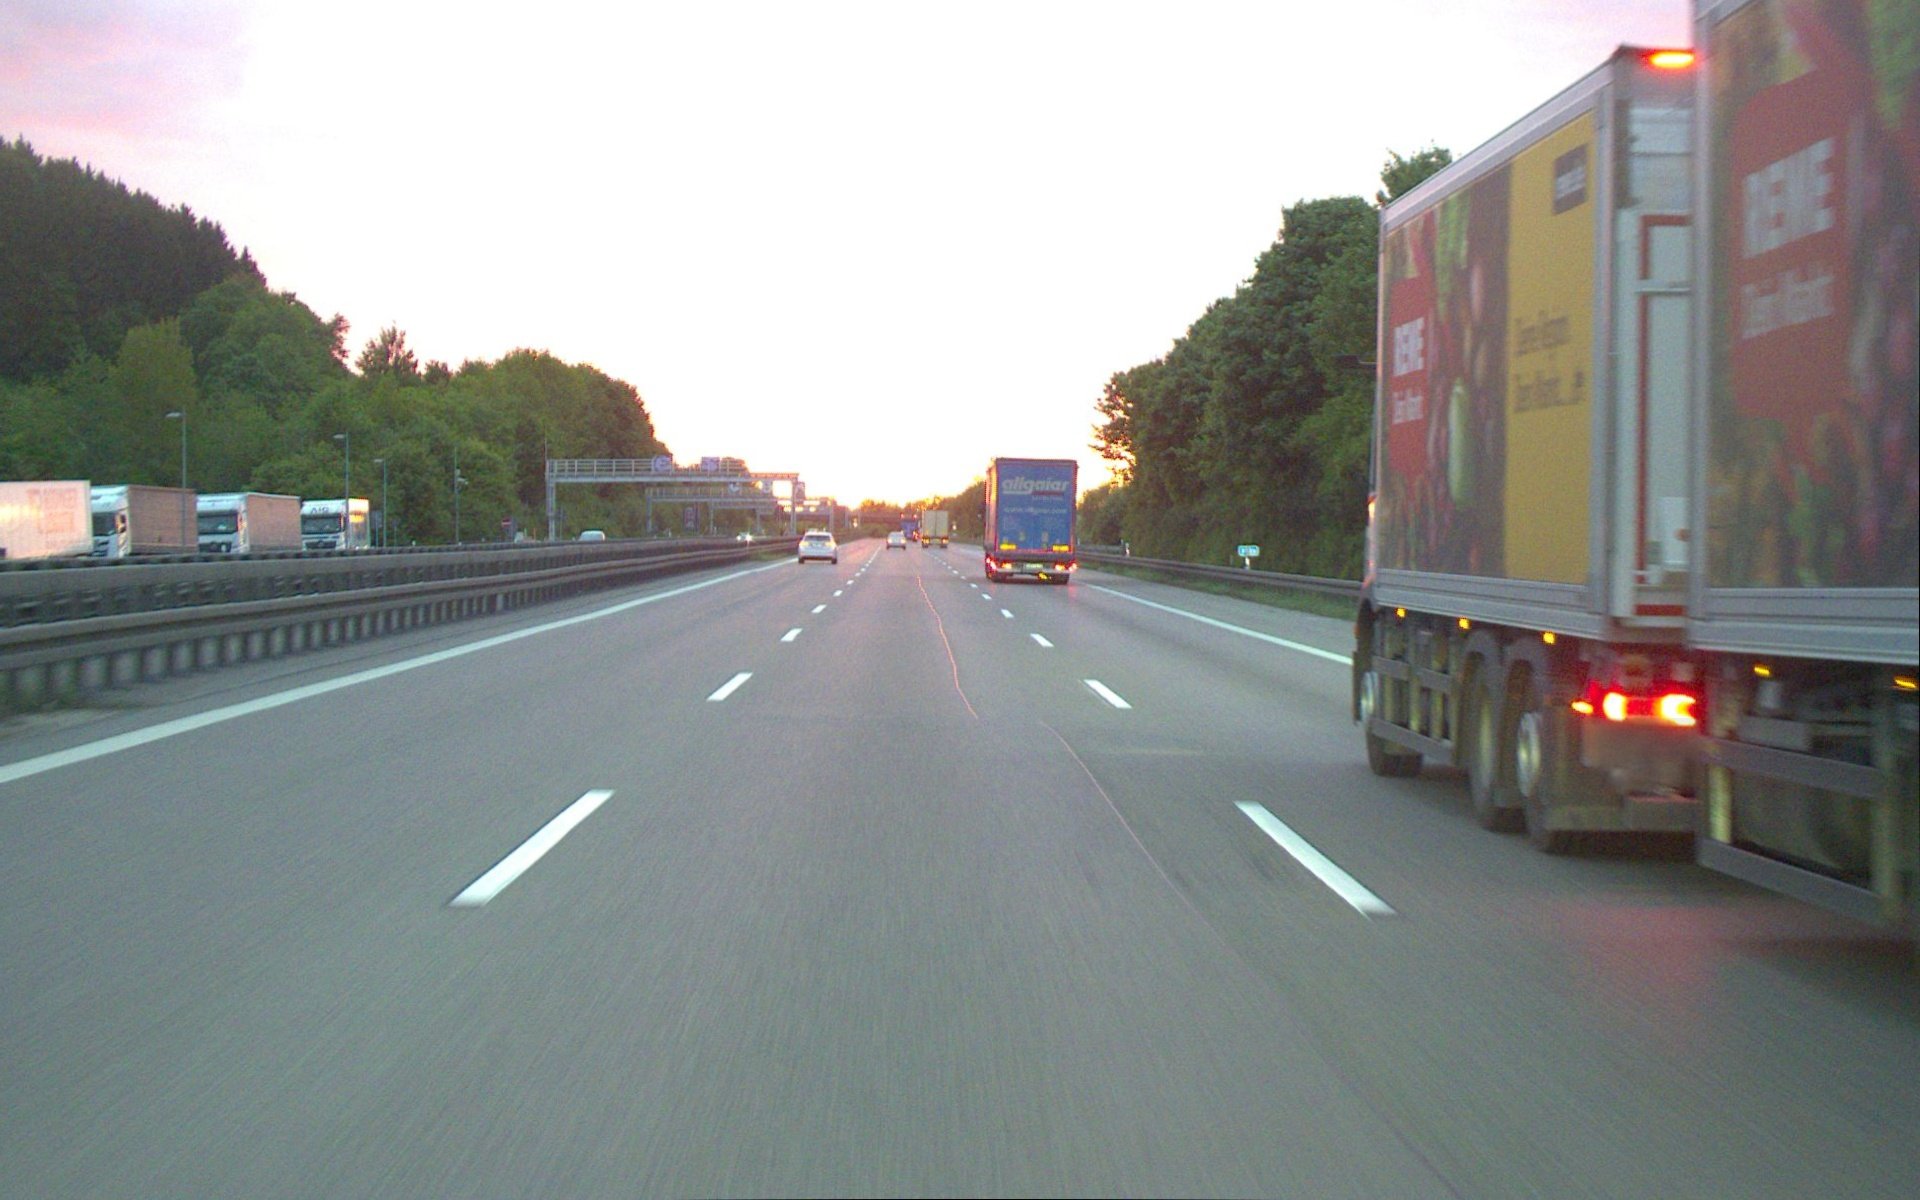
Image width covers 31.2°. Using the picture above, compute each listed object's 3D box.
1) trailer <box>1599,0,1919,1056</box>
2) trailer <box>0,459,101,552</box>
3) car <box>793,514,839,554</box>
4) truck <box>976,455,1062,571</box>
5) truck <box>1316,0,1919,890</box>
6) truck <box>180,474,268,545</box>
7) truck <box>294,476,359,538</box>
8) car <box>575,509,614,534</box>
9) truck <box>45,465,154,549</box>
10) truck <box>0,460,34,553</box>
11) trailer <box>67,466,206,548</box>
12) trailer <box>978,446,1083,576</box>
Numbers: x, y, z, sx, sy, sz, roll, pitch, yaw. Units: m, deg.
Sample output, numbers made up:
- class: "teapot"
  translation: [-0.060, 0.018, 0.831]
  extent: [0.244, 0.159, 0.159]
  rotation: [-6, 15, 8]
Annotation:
- class: "trailer"
  translation: [4.159, -0.550, 10.224]
  extent: [2.616, 3.814, 8.879]
  rotation: [0, 1, -1]
- class: "trailer"
  translation: [-36.375, -3.665, 132.989]
  extent: [2.873, 3.413, 13.225]
  rotation: [1, 2, 0]
- class: "car"
  translation: [-6.649, -3.087, 159.423]
  extent: [2.013, 1.743, 3.903]
  rotation: [-2, 1, -2]
- class: "truck"
  translation: [2.086, -3.114, 123.292]
  extent: [2.736, 3.982, 5.850]
  rotation: [1, 1, -2]
- class: "truck"
  translation: [3.962, -0.757, 19.898]
  extent: [2.616, 3.814, 10.387]
  rotation: [0, 1, 0]
- class: "truck"
  translation: [-36.474, -4.479, 170.551]
  extent: [2.873, 3.413, 6.727]
  rotation: [1, 2, 0]
- class: "truck"
  translation: [-35.866, -5.287, 194.809]
  extent: [2.873, 3.413, 6.728]
  rotation: [1, 2, -5]
- class: "car"
  translation: [-23.896, -5.139, 224.967]
  extent: [1.993, 1.588, 4.741]
  rotation: [1, 2, 0]
- class: "truck"
  translation: [-36.391, -3.947, 145.592]
  extent: [2.873, 3.413, 6.727]
  rotation: [1, 2, 0]
- class: "truck"
  translation: [-36.414, -3.454, 126.150]
  extent: [2.873, 3.364, 7.175]
  rotation: [1, 2, 0]
- class: "trailer"
  translation: [-36.407, -4.142, 152.539]
  extent: [2.873, 3.413, 13.571]
  rotation: [1, 2, 0]
- class: "trailer"
  translation: [2.279, -2.970, 116.362]
  extent: [2.771, 4.072, 13.741]
  rotation: [1, 1, -2]
